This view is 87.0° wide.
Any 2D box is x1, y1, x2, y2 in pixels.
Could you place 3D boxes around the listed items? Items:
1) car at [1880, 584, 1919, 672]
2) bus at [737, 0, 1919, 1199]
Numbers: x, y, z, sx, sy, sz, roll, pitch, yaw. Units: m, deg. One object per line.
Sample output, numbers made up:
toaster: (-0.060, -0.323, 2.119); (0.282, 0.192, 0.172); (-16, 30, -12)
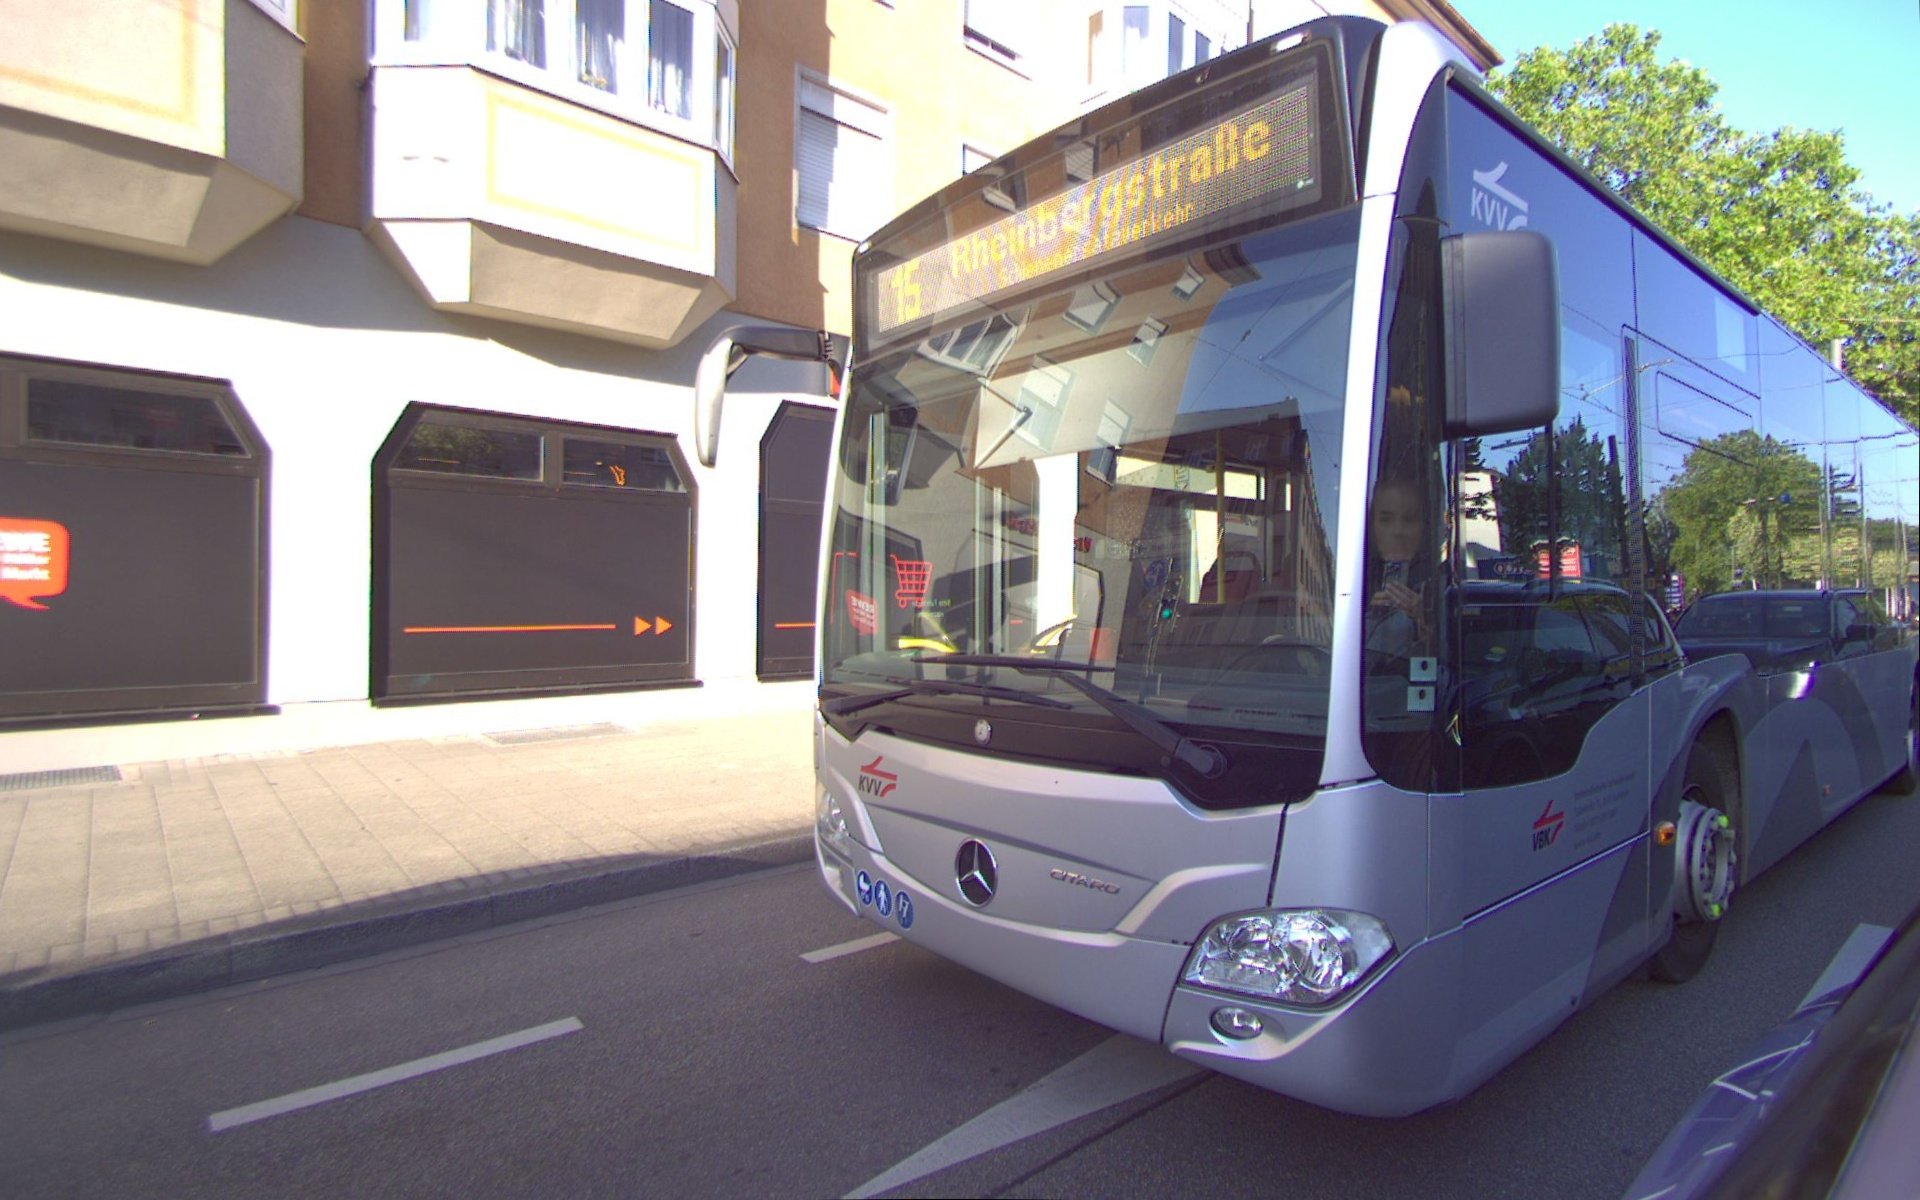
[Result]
car: (19.536, 0.496, 19.939); (3.760, 1.627, 1.747); (-1, 1, -43)
bus: (6.563, -0.188, 8.721); (17.432, 3.189, 2.771); (-1, 1, -41)
